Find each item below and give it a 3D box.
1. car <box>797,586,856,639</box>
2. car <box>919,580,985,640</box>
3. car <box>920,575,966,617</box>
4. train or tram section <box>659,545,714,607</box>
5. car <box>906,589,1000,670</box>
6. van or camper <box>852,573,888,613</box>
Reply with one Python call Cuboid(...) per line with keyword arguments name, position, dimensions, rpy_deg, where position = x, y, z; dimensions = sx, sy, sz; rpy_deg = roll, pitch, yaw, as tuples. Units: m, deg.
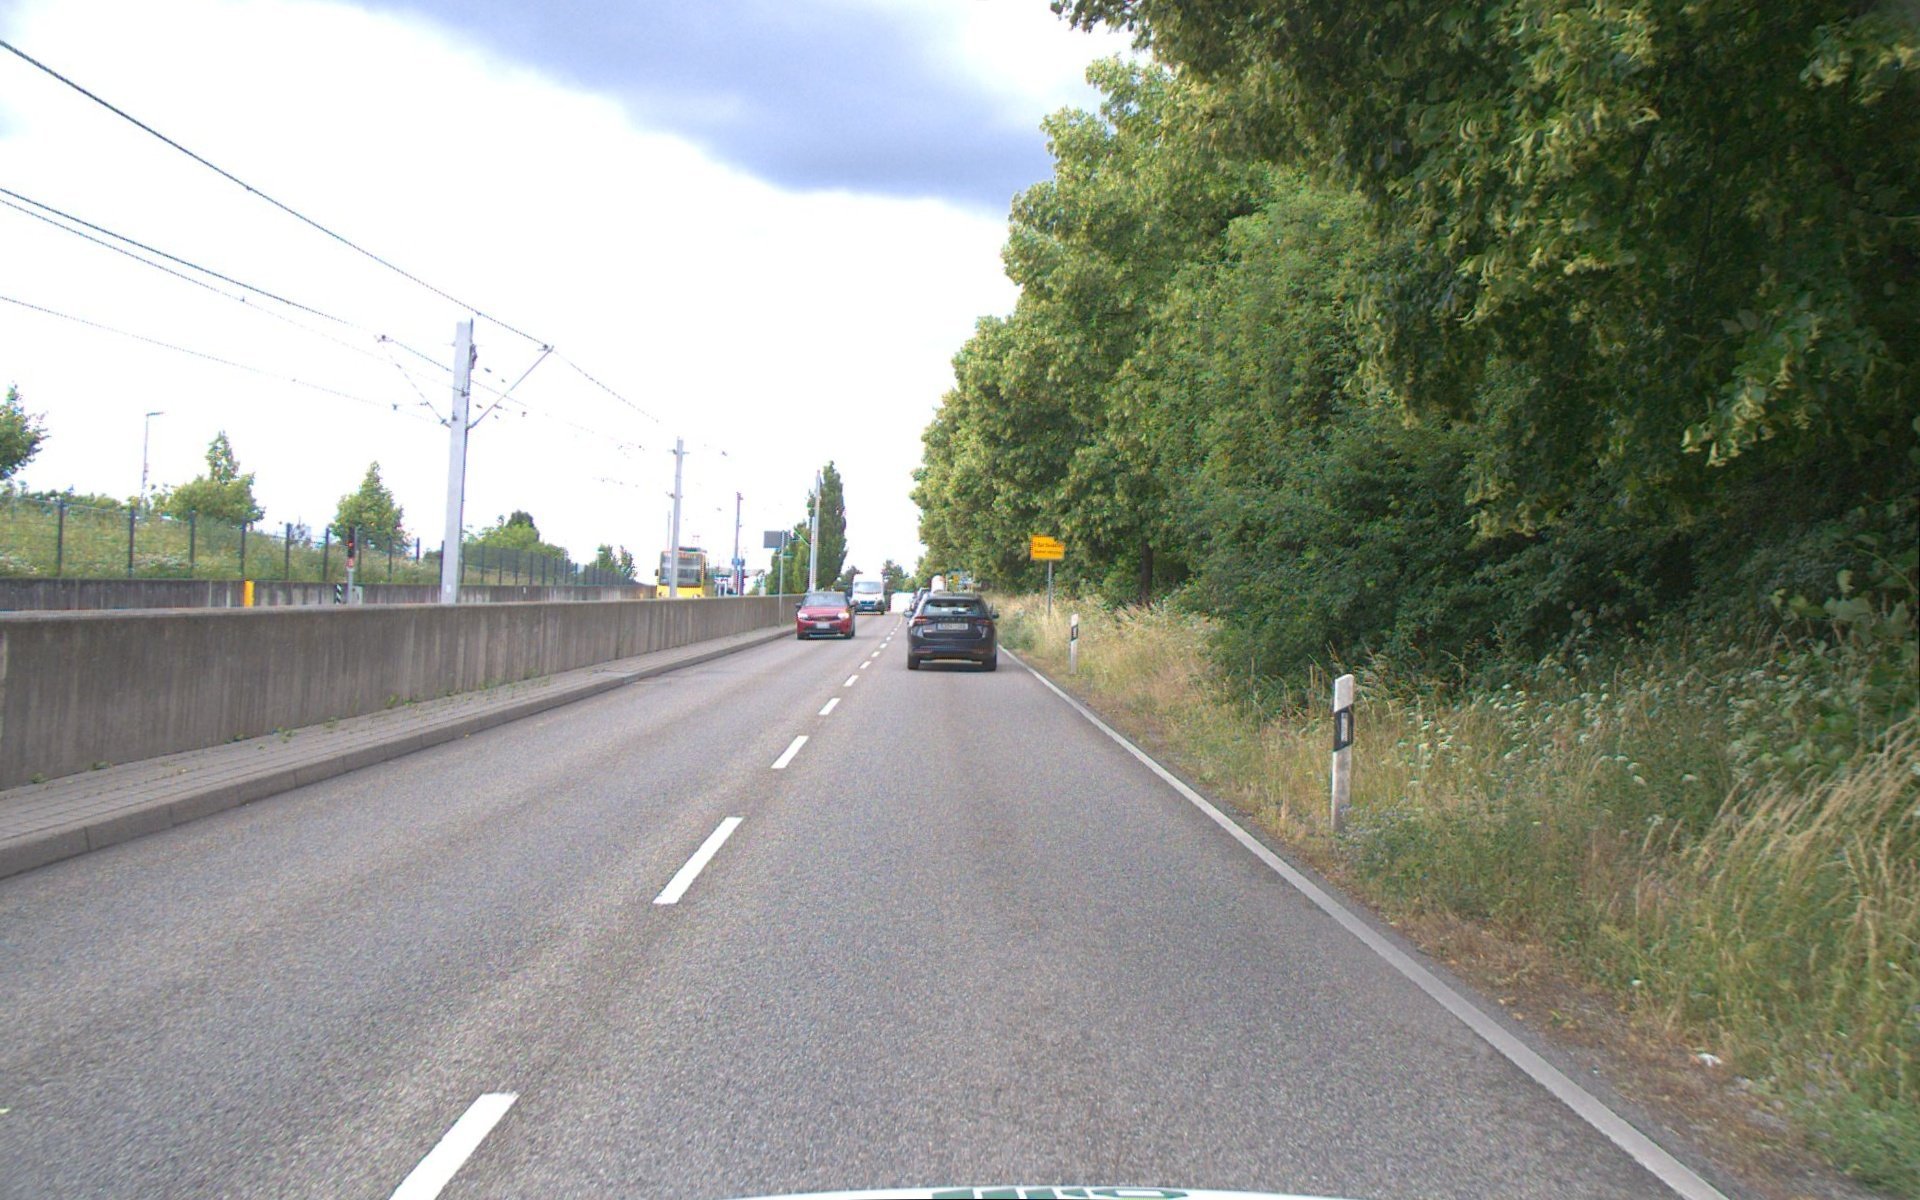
Cuboid(name="car", position=(-4.154, 0.370, 52.005), dimensions=(1.629, 1.572, 3.951), rpy_deg=(0, 0, -2))
Cuboid(name="car", position=(-0.286, 0.285, 51.085), dimensions=(1.953, 1.783, 3.999), rpy_deg=(0, 0, -1))
Cuboid(name="car", position=(-0.760, -0.169, 72.586), dimensions=(1.953, 1.771, 3.999), rpy_deg=(1, -1, -1))
Cuboid(name="train or tram section", position=(-15.828, -1.252, 96.691), dimensions=(2.759, 3.172, 18.878), rpy_deg=(1, -1, -8))
Cuboid(name="car", position=(-0.170, 0.555, 32.714), dimensions=(1.745, 1.493, 3.999), rpy_deg=(0, 0, -1))
Cuboid(name="van or camper", position=(-5.645, -0.447, 103.989), dimensions=(2.040, 2.438, 6.135), rpy_deg=(1, 0, -1))
